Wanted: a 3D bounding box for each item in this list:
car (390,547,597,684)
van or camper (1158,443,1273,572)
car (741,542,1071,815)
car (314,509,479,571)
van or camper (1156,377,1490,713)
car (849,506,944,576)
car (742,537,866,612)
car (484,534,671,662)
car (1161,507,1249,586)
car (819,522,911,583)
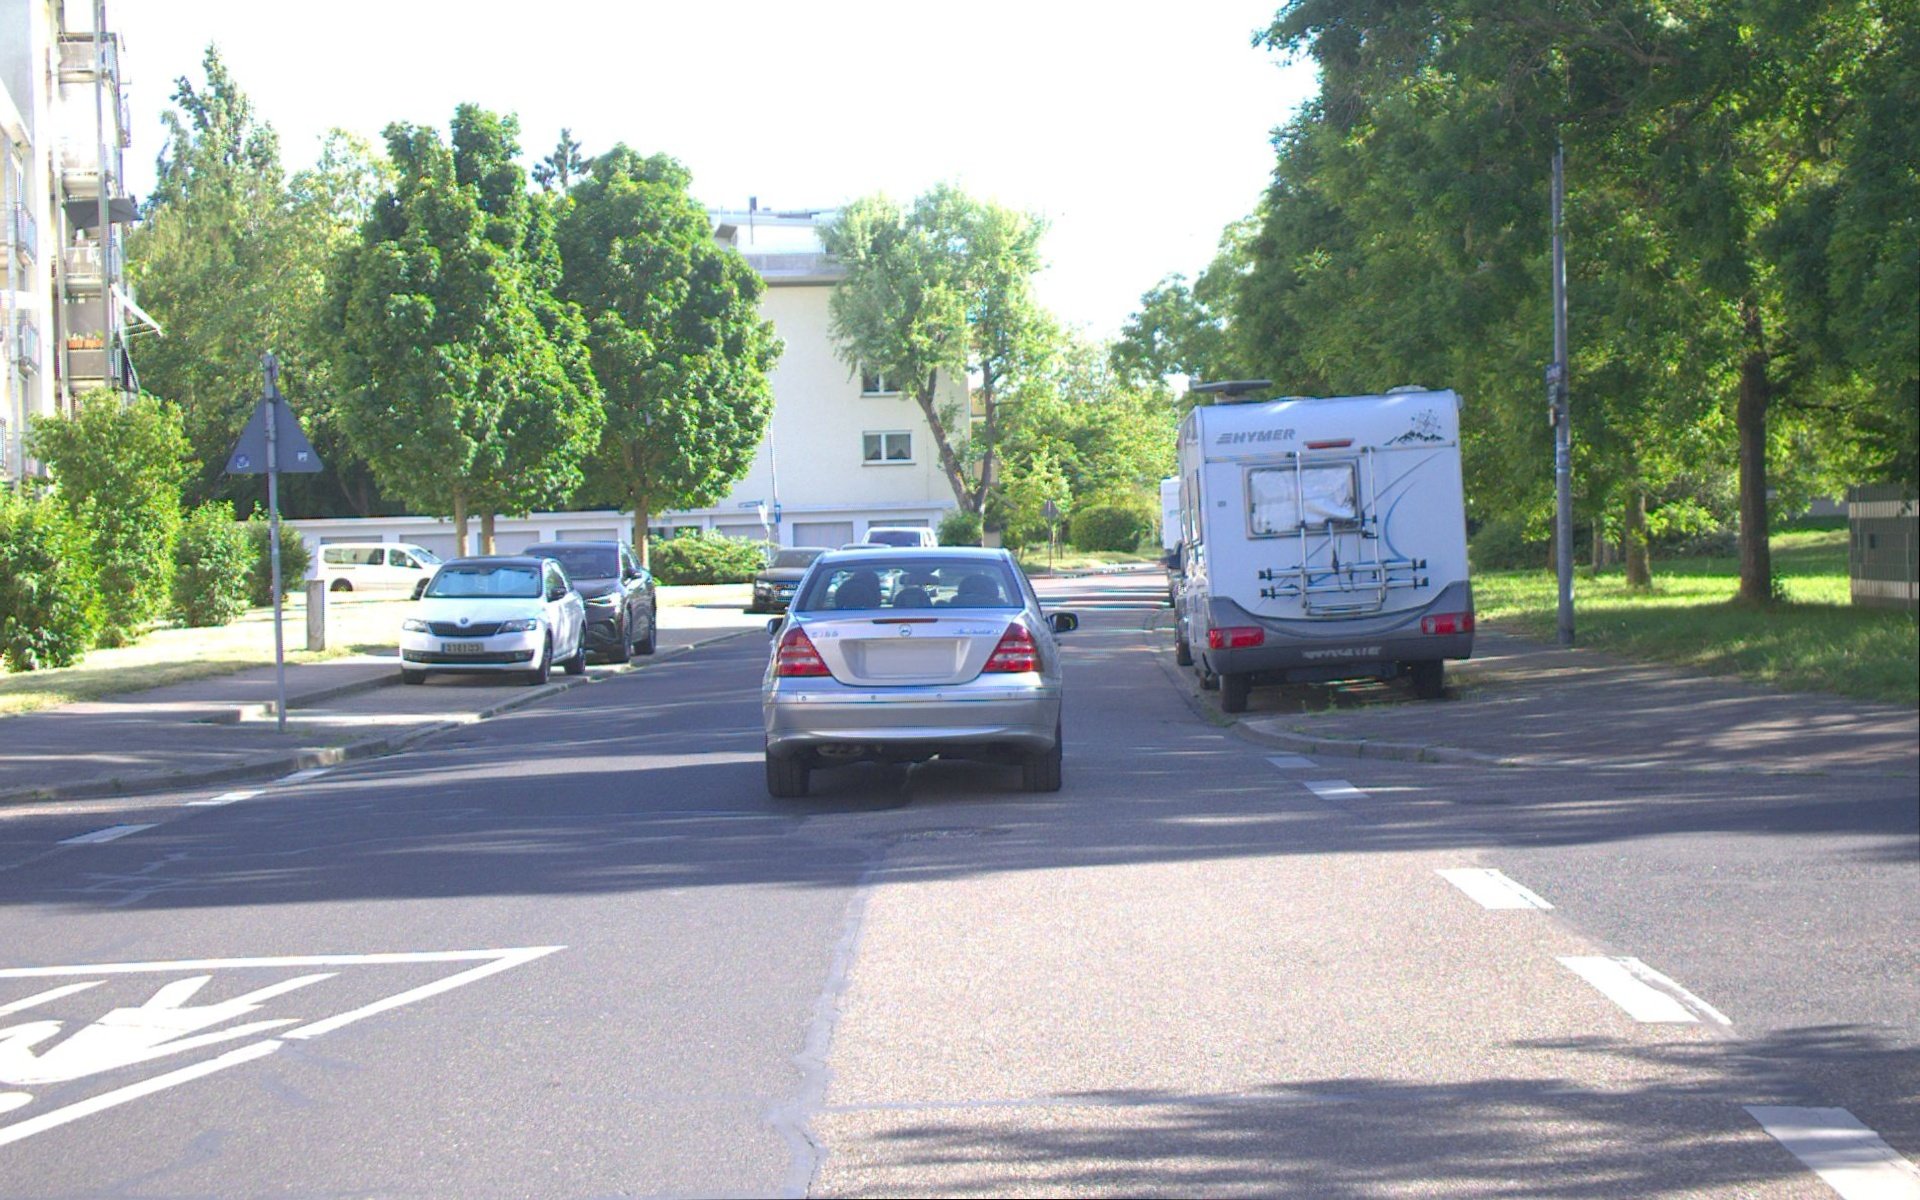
[{"bbox_3d":[-5.433,0.141,40.482,1.646,1.461,4.330,-1,2,3],"label":"car"},{"bbox_3d":[6.059,-2.198,81.629,2.497,2.835,6.851,-2,1,4],"label":"van or camper"},{"bbox_3d":[-0.237,0.407,20.365,1.733,1.429,3.438,-2,1,2],"label":"car"},{"bbox_3d":[-19.503,-2.097,119.142,5.108,1.944,2.236,-2,1,13],"label":"car"},{"bbox_3d":[3.185,-0.534,31.624,2.352,2.587,6.426,-5,1,2],"label":"van or camper"},{"bbox_3d":[-1.715,-1.650,95.107,2.015,1.879,5.190,0,1,6],"label":"car"},{"bbox_3d":[-3.377,-0.586,75.496,2.035,1.487,5.255,-2,1,5],"label":"car"},{"bbox_3d":[-5.178,-0.078,47.140,1.914,1.598,4.812,-2,1,1],"label":"car"},{"bbox_3d":[5.295,-1.177,74.579,1.720,1.519,4.428,-5,1,3],"label":"car"},{"bbox_3d":[-2.420,-1.237,88.592,1.833,1.513,4.221,0,1,6],"label":"car"}]
